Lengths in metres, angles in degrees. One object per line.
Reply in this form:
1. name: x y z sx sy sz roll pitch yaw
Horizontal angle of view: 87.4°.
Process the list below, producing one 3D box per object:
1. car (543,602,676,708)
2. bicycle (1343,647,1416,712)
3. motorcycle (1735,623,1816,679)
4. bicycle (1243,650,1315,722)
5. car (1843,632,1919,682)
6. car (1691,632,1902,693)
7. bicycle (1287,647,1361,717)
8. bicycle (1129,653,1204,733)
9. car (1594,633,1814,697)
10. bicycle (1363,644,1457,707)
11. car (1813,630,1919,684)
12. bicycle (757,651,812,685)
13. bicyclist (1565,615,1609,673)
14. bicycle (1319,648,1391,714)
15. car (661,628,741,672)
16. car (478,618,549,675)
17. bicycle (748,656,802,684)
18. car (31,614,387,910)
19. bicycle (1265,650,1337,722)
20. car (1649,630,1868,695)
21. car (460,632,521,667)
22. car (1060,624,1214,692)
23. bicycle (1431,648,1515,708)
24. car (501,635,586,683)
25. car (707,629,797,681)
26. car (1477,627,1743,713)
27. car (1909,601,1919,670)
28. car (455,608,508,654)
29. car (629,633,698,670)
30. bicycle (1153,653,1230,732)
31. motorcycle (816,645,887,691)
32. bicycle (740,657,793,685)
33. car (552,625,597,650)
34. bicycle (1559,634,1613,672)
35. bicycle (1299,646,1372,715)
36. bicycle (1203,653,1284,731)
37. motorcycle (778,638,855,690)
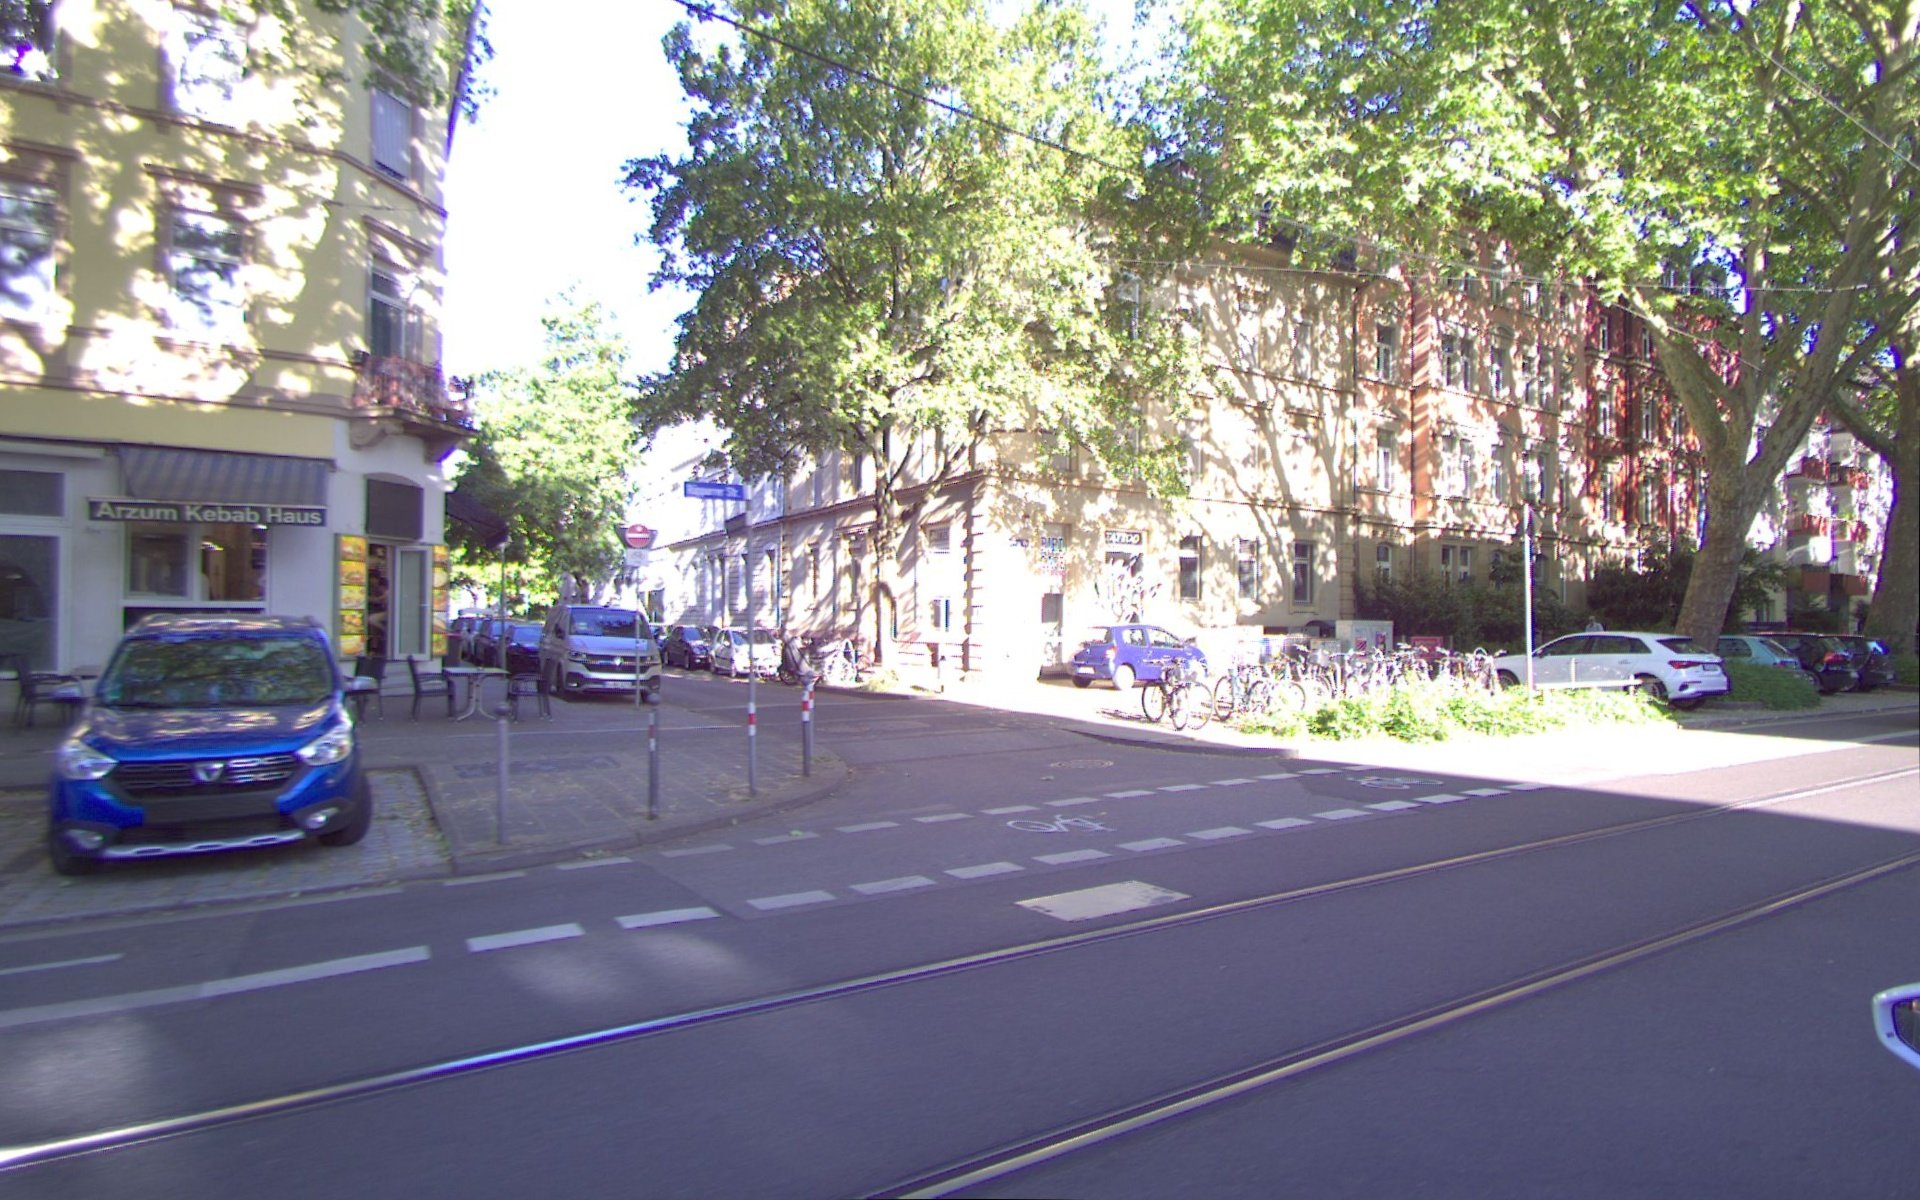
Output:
1. car: -7.397 1.104 20.910 2.100 1.905 4.559 4 -3 -25
2. bicycle: 7.553 1.412 18.159 0.389 1.102 1.559 1 -1 -13
3. motorcycle: 25.476 1.573 31.361 2.978 1.653 1.046 2 0 -32
4. bicycle: 5.253 1.393 16.622 0.389 1.102 1.559 1 -1 -13
5. car: 30.328 1.769 31.230 1.809 1.516 3.968 1 -2 -30
6. car: 22.019 1.588 26.609 1.684 1.479 3.970 1 -2 -29
7. bicycle: 6.104 1.354 16.916 0.389 1.102 1.559 1 -1 -13
8. bicycle: 3.139 1.384 15.402 0.389 1.102 1.858 1 -2 -13
9. car: 17.755 1.494 24.178 1.586 1.387 3.970 1 -2 -29
10. bicycle: 8.505 1.405 19.076 0.587 1.102 1.920 1 -2 -13
11. car: 27.864 1.669 29.647 1.684 1.479 3.775 1 -1 -30
12. bicycle: -4.792 1.848 27.456 1.436 0.871 0.395 1 -2 -31
13. bicyclist: 19.725 1.372 31.602 1.036 1.786 0.826 1 -1 -32
14. bicycle: 7.077 1.429 18.056 0.389 1.102 1.559 1 -1 -13
15. car: -8.970 1.677 34.601 1.736 1.429 3.883 1 -2 -30
16. car: -14.272 1.455 32.025 1.736 1.715 3.150 1 -2 -30
17. bicycle: -5.178 1.963 28.132 1.436 0.742 0.395 1 -2 -31
18. car: -5.901 1.011 8.194 1.798 1.734 4.293 1 -2 -34
19. bicycle: 5.678 1.405 16.801 0.389 1.102 1.559 1 -1 -13
20. car: 19.979 1.516 25.305 1.749 1.479 3.970 1 -2 -29
21. car: -17.177 1.767 36.698 1.736 1.193 3.372 1 -2 -30
22. car: 4.164 1.320 23.523 3.454 1.479 1.589 1 -2 -35
23. bicycle: 9.752 1.460 19.165 0.586 1.057 1.806 0 -1 -4
24. car: -11.533 1.588 27.716 1.736 1.193 3.372 1 -2 -30
25. car: -6.348 1.621 30.434 1.736 1.483 3.372 1 -2 -30
26. car: 12.512 1.281 19.571 1.858 1.479 3.966 2 -2 -32
27. car: 38.053 1.318 35.863 2.137 2.570 5.712 1 -1 -31
28. car: -20.094 1.293 42.102 1.736 1.812 3.372 1 -2 -30
29. car: -11.548 1.952 38.940 1.736 1.322 3.883 1 -2 -30
30. bicycle: 3.552 1.393 15.526 0.389 1.102 1.858 1 -2 -13
31. motorcycle: -2.656 1.657 24.821 1.826 1.086 0.524 2 -2 -45
32. bicycle: -5.515 2.008 28.612 1.436 0.742 0.395 1 -2 -31
33. car: -20.172 1.929 52.559 1.589 1.265 3.288 1 -2 -32
34. bicycle: 19.710 1.666 31.624 1.760 1.154 0.738 1 -1 -32
35. bicycle: 6.479 1.364 17.406 0.389 1.102 1.559 1 -1 -13
36. bicycle: 4.402 1.401 15.730 0.389 1.102 1.858 1 -2 -13
37. motorcycle: -3.643 1.614 25.531 1.851 1.278 0.586 1 -1 -27
